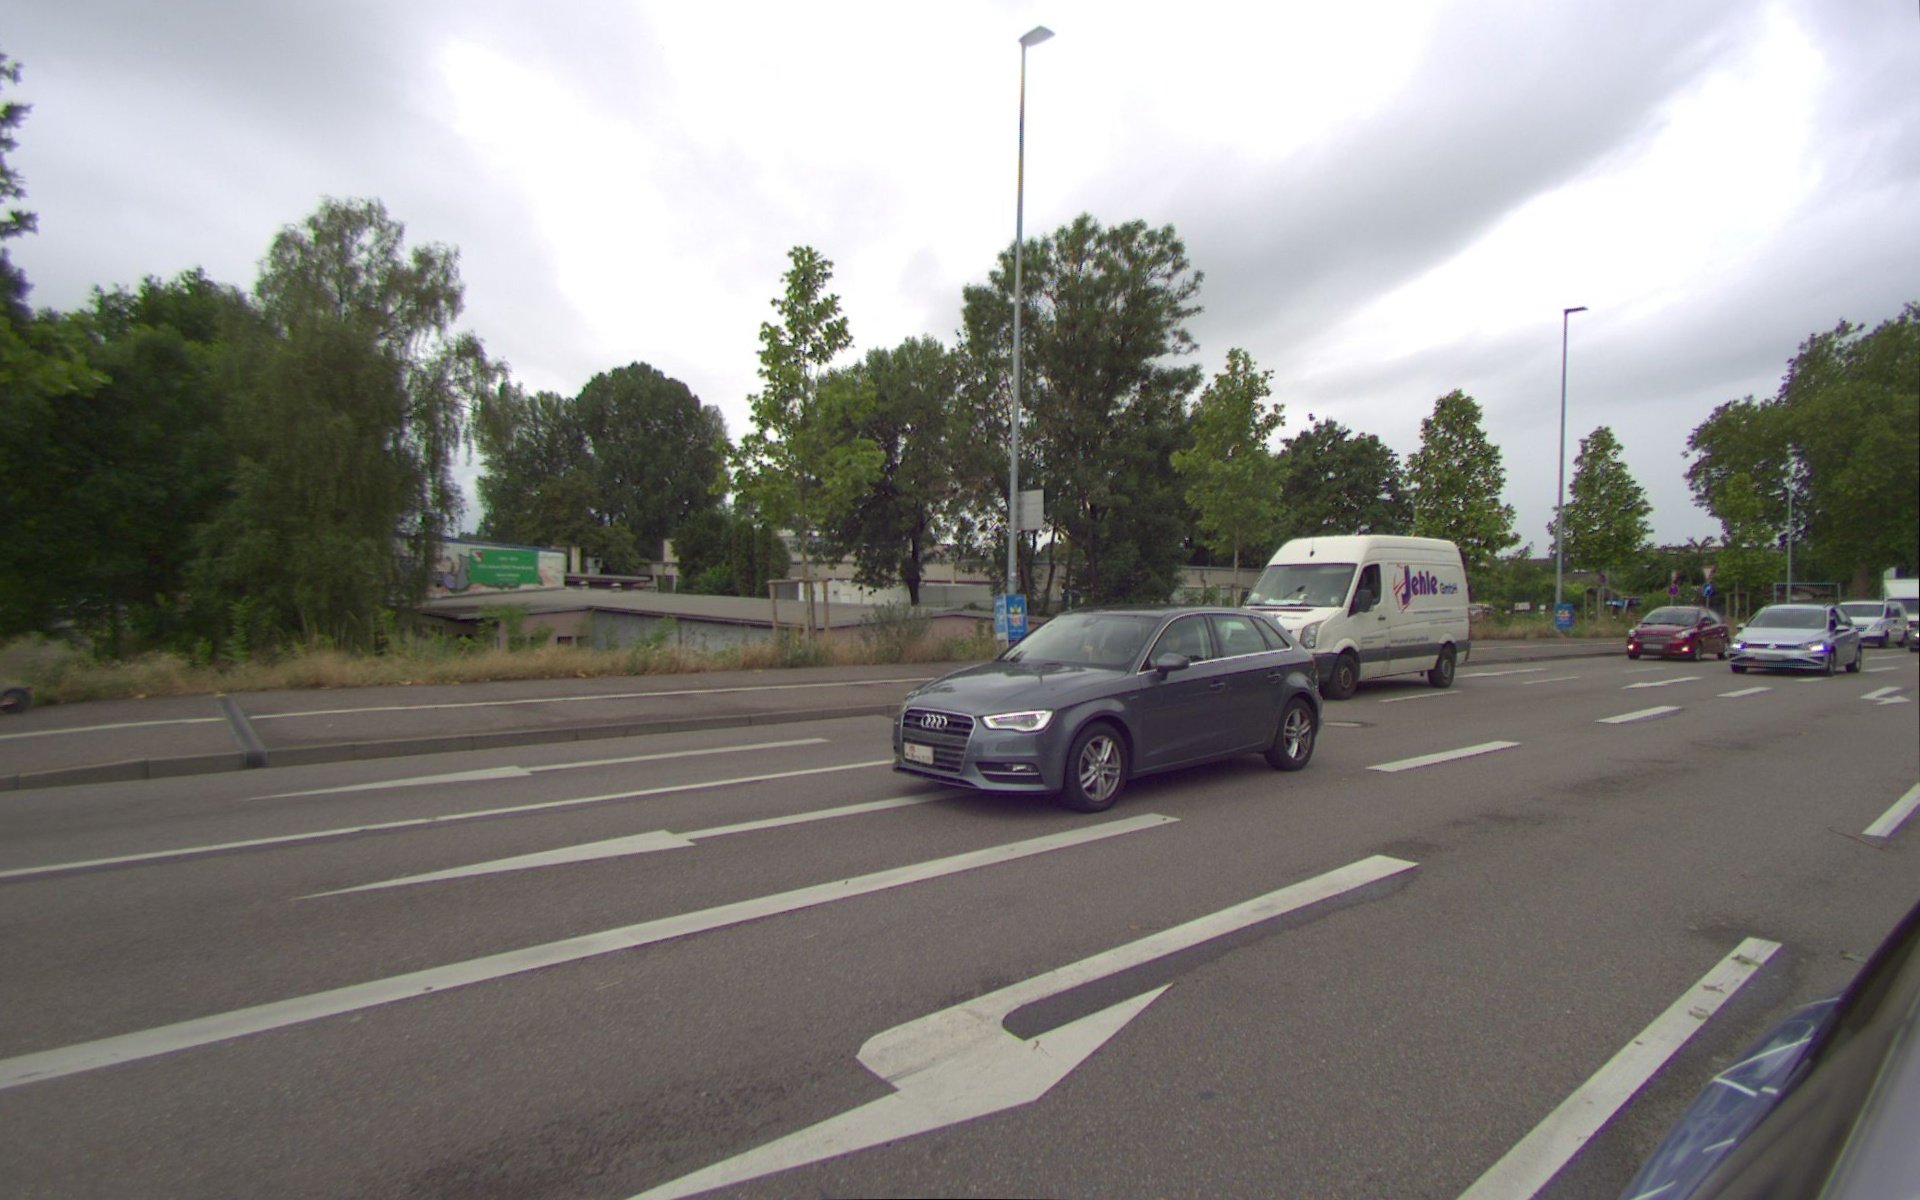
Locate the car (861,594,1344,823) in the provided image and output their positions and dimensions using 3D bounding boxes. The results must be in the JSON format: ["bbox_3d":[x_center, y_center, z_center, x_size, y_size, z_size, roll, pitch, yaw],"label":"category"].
[{"bbox_3d":[1.327,0.688,8.318,4.005,1.419,1.741,1,0,-41],"label":"car"}]

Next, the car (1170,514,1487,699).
[{"bbox_3d":[6.492,0.107,17.458,5.795,2.659,2.661,1,0,-41],"label":"car"}]

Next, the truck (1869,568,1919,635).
[{"bbox_3d":[44.706,0.096,46.656,6.419,2.960,2.828,1,0,-35],"label":"truck"}]

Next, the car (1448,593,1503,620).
[{"bbox_3d":[40.618,0.552,79.693,4.477,2.039,2.314,2,-1,-41],"label":"car"}]

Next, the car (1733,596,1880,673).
[{"bbox_3d":[19.148,0.715,22.843,4.126,1.572,1.859,0,0,-40],"label":"car"}]

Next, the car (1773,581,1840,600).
[{"bbox_3d":[68.314,-0.782,81.740,1.781,1.527,3.990,-1,1,-44],"label":"car"}]

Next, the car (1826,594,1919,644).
[{"bbox_3d":[37.599,0.744,41.492,5.024,1.904,2.100,1,0,-36],"label":"car"}]

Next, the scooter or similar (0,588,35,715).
[{"bbox_3d":[-9.776,0.516,9.864,1.027,1.229,0.376,-2,3,-33],"label":"scooter or similar"}]

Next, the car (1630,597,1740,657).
[{"bbox_3d":[20.525,0.727,28.609,3.703,1.581,1.654,1,0,-39],"label":"car"}]
